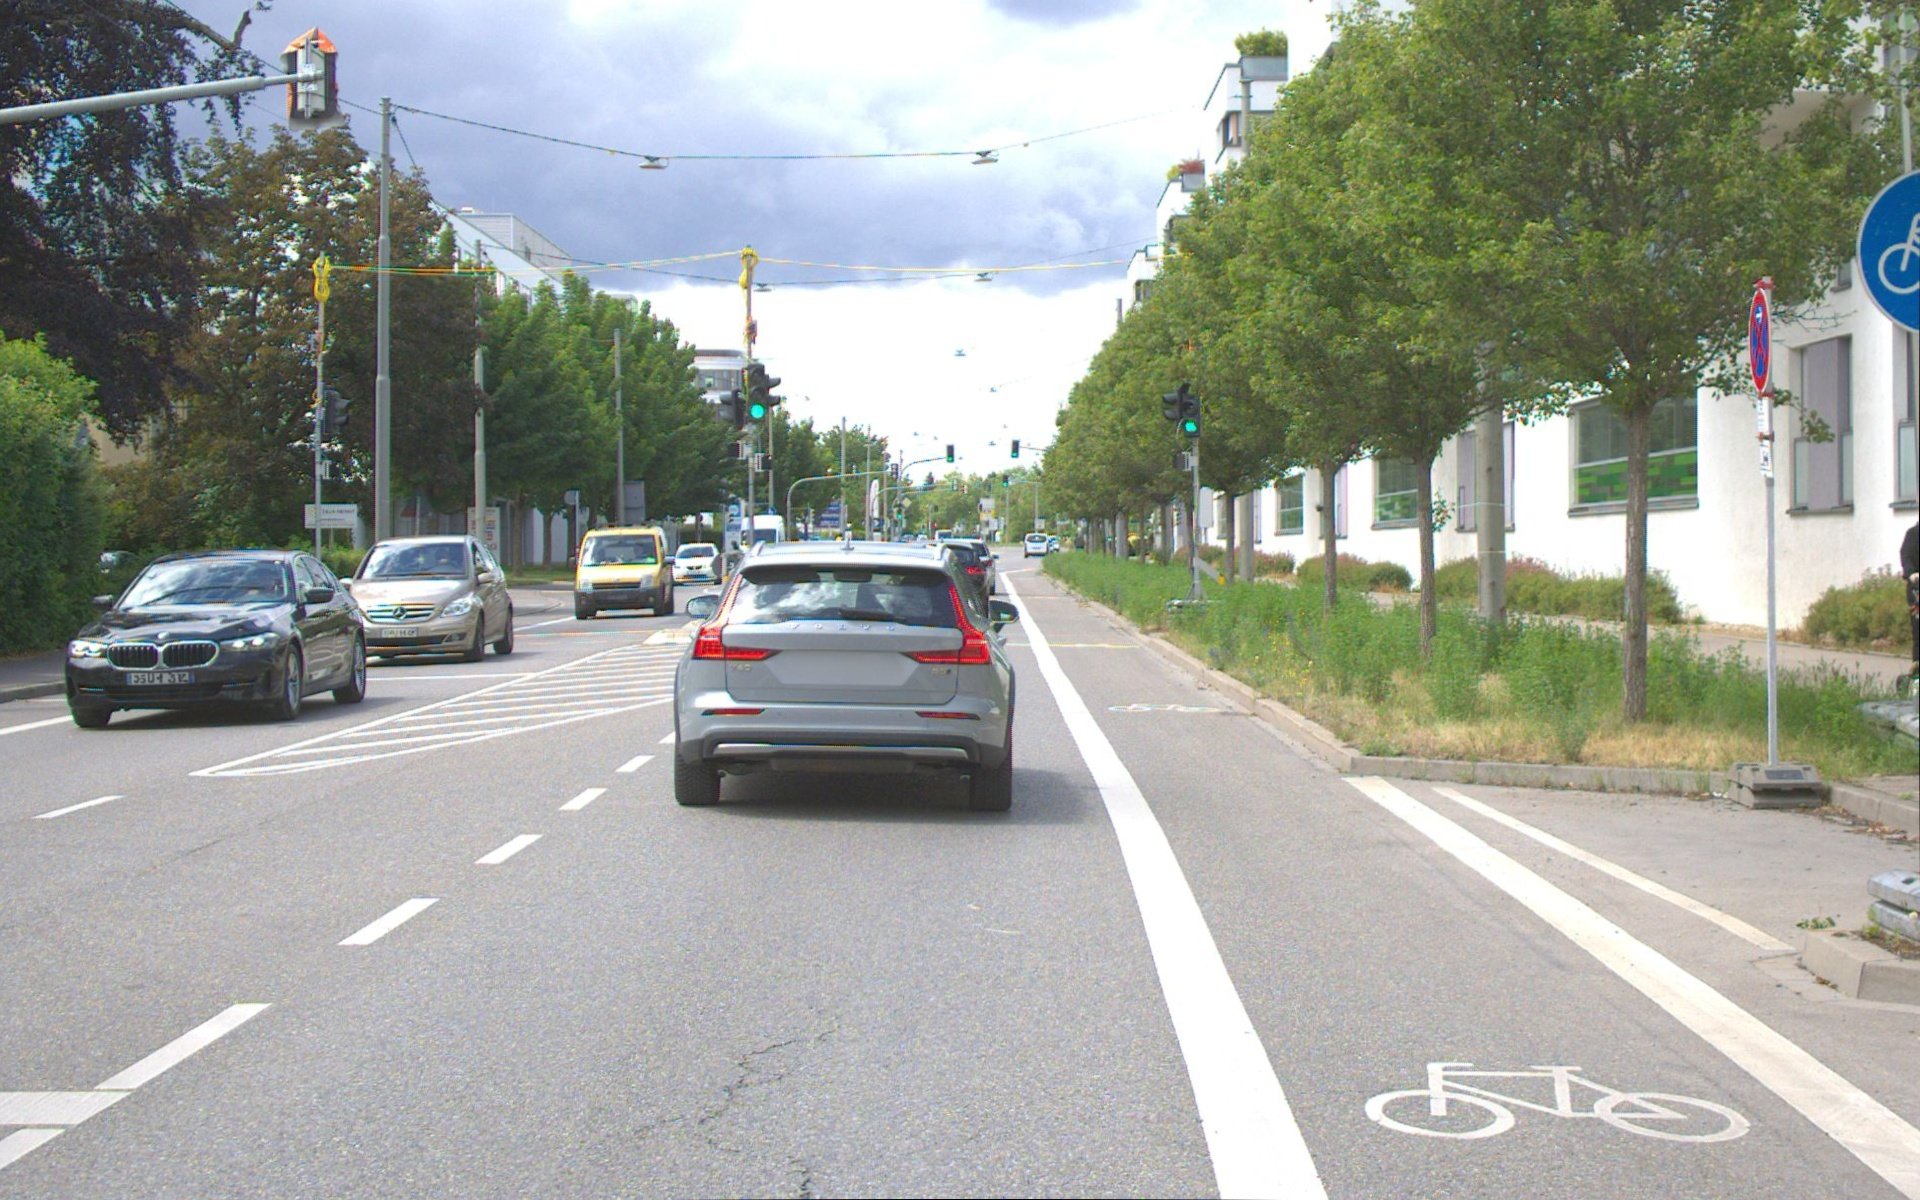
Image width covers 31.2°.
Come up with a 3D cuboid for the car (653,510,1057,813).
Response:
[{"bbox_3d":[-0.498,0.267,19.922,1.855,1.508,4.000,1,2,5],"label":"car"}]

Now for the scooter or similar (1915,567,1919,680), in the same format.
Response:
[{"bbox_3d":[7.916,0.193,27.371,0.421,0.902,0.682,-1,2,0],"label":"scooter or similar"}]

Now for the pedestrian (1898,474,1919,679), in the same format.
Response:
[{"bbox_3d":[8.016,-0.200,27.964,0.605,1.649,0.552,-1,2,0],"label":"pedestrian"}]

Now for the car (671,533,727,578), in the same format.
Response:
[{"bbox_3d":[-9.233,-1.586,121.831,1.661,1.510,4.000,0,2,0],"label":"car"}]

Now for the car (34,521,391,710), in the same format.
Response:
[{"bbox_3d":[-6.423,0.069,30.100,1.993,1.395,4.811,-3,2,0],"label":"car"}]

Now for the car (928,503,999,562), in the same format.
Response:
[{"bbox_3d":[0.074,-1.815,91.625,1.845,1.508,4.001,0,2,0],"label":"car"}]

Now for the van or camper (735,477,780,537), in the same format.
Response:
[{"bbox_3d":[-9.596,-4.415,162.966,1.993,2.724,6.054,-2,2,-4],"label":"van or camper"}]

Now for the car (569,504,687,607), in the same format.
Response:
[{"bbox_3d":[-6.512,-0.909,67.867,1.841,1.898,4.686,-1,2,0],"label":"car"}]

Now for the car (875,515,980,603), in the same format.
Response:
[{"bbox_3d":[-0.591,-0.776,63.274,1.854,1.508,4.001,0,2,0],"label":"car"}]

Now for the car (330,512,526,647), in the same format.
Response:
[{"bbox_3d":[-6.703,-0.304,43.721,1.749,1.550,4.402,-1,2,0],"label":"car"}]
